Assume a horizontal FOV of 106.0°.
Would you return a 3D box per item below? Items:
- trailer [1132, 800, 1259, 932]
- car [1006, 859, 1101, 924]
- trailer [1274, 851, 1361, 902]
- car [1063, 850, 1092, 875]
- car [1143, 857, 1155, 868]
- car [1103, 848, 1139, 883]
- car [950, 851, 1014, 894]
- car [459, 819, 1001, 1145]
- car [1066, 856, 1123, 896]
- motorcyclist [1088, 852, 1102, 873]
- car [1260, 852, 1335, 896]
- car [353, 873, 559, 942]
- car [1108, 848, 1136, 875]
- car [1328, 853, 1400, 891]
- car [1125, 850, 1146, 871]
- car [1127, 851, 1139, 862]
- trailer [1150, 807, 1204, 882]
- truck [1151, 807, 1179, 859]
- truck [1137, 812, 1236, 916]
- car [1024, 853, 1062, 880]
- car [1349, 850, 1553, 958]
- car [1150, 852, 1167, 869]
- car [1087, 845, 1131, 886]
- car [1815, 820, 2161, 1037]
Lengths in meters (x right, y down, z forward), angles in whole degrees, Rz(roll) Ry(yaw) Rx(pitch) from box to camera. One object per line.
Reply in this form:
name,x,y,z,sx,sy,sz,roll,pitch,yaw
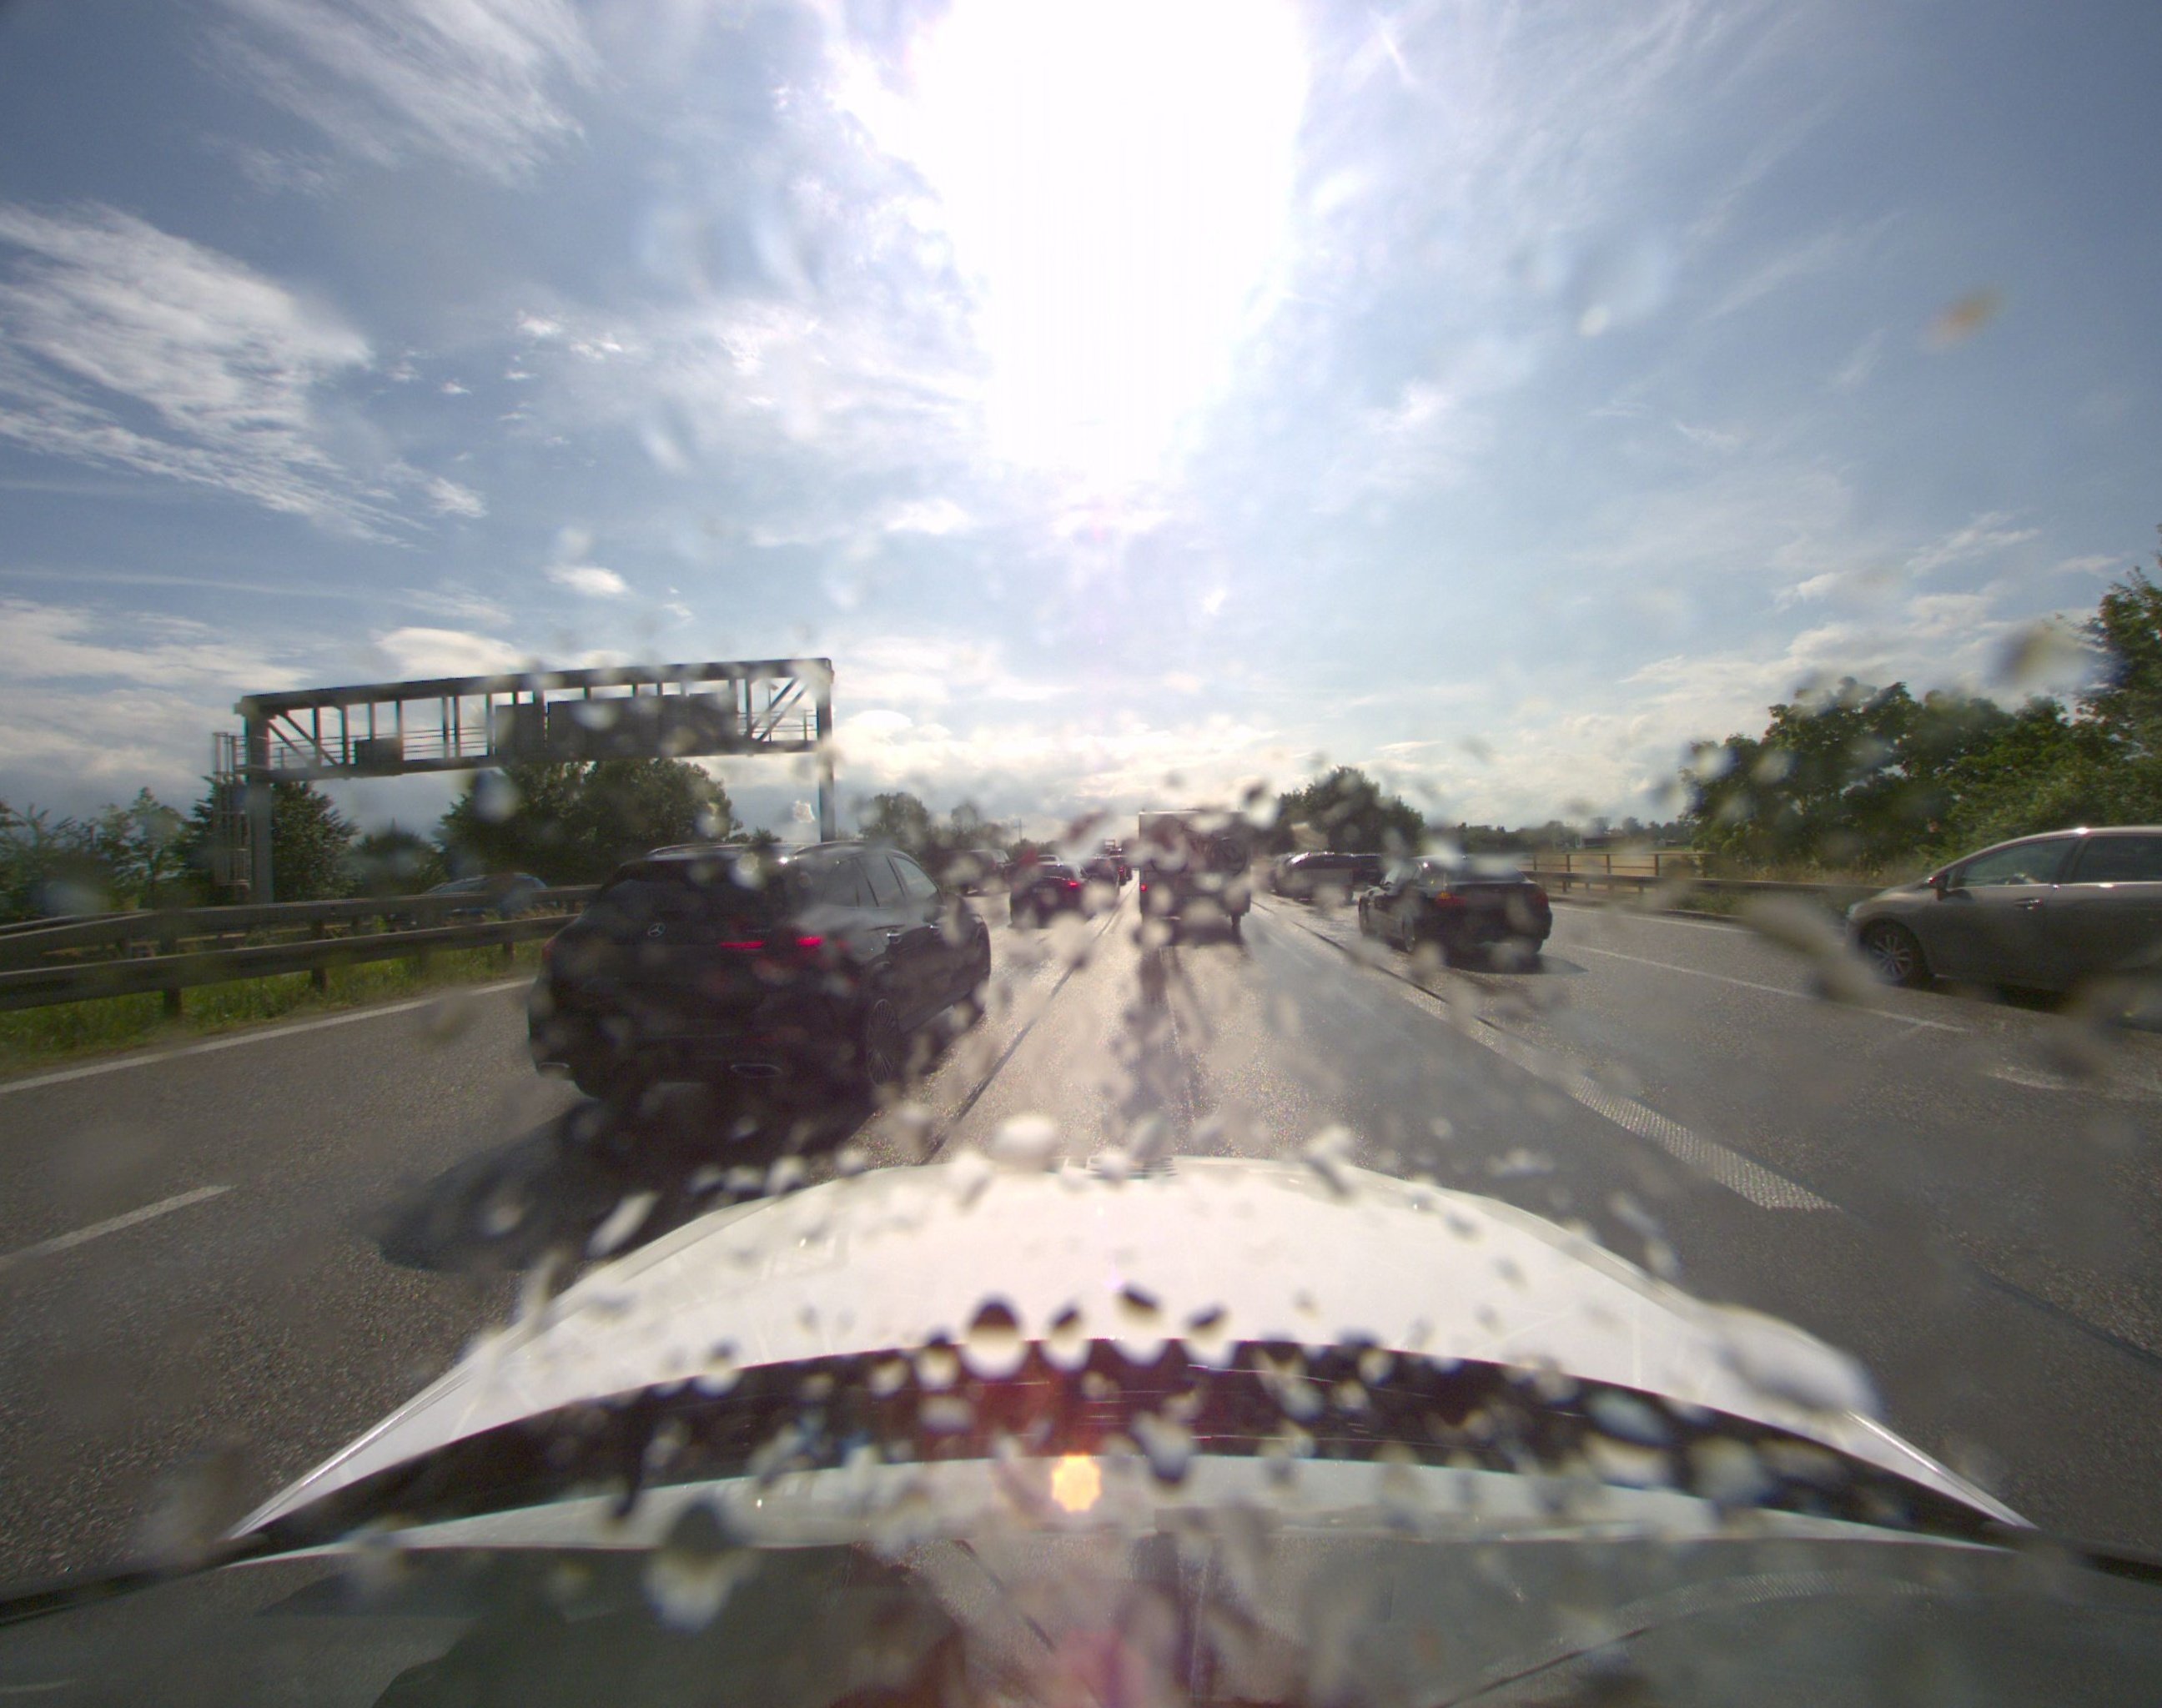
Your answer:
trailer,2.443,0.245,18.654,2.363,2.483,6.532,-1,0,5
car,-0.567,0.842,19.890,1.748,1.387,3.952,-1,0,6
trailer,7.321,0.660,25.637,1.846,1.442,4.153,-1,0,5
car,-0.296,0.740,69.844,1.984,2.013,4.006,2,0,6
car,11.311,1.358,135.390,1.869,1.760,4.002,0,0,2
car,2.527,0.705,50.591,1.984,2.013,4.006,2,0,6
car,-4.124,0.767,34.660,1.985,1.720,4.004,-1,0,4
car,-2.081,0.686,6.441,1.983,1.661,4.413,-1,0,6
car,0.564,0.781,30.498,1.797,1.407,4.006,-1,0,5
motorcyclist,1.148,0.701,66.692,1.058,1.718,0.786,-1,-1,5
car,7.624,0.667,29.046,1.846,1.442,4.264,-1,0,5
car,-14.841,1.206,19.635,1.748,1.380,3.881,-1,0,4
car,3.273,0.600,64.241,1.983,2.013,4.006,-2,0,6
car,11.160,0.670,32.435,1.762,1.401,4.297,-1,0,6
car,5.506,0.666,82.232,1.983,2.014,4.006,-1,0,6
car,8.824,0.448,137.766,1.869,1.760,4.002,0,0,2
trailer,5.979,-0.525,50.388,2.991,4.166,8.553,-1,0,7
truck,8.143,-1.963,79.657,2.491,4.830,7.551,-1,0,4
truck,2.790,0.262,22.512,2.363,2.477,5.764,-1,0,5
car,-2.484,0.803,54.715,1.983,1.772,4.006,0,0,6
car,5.590,0.679,12.844,1.732,1.420,3.841,-1,0,5
car,9.730,0.785,102.313,1.984,2.013,4.006,2,0,6
car,1.483,0.583,42.044,1.983,2.013,4.006,-1,0,6
car,9.034,0.535,6.996,1.779,1.613,4.392,-1,0,6
